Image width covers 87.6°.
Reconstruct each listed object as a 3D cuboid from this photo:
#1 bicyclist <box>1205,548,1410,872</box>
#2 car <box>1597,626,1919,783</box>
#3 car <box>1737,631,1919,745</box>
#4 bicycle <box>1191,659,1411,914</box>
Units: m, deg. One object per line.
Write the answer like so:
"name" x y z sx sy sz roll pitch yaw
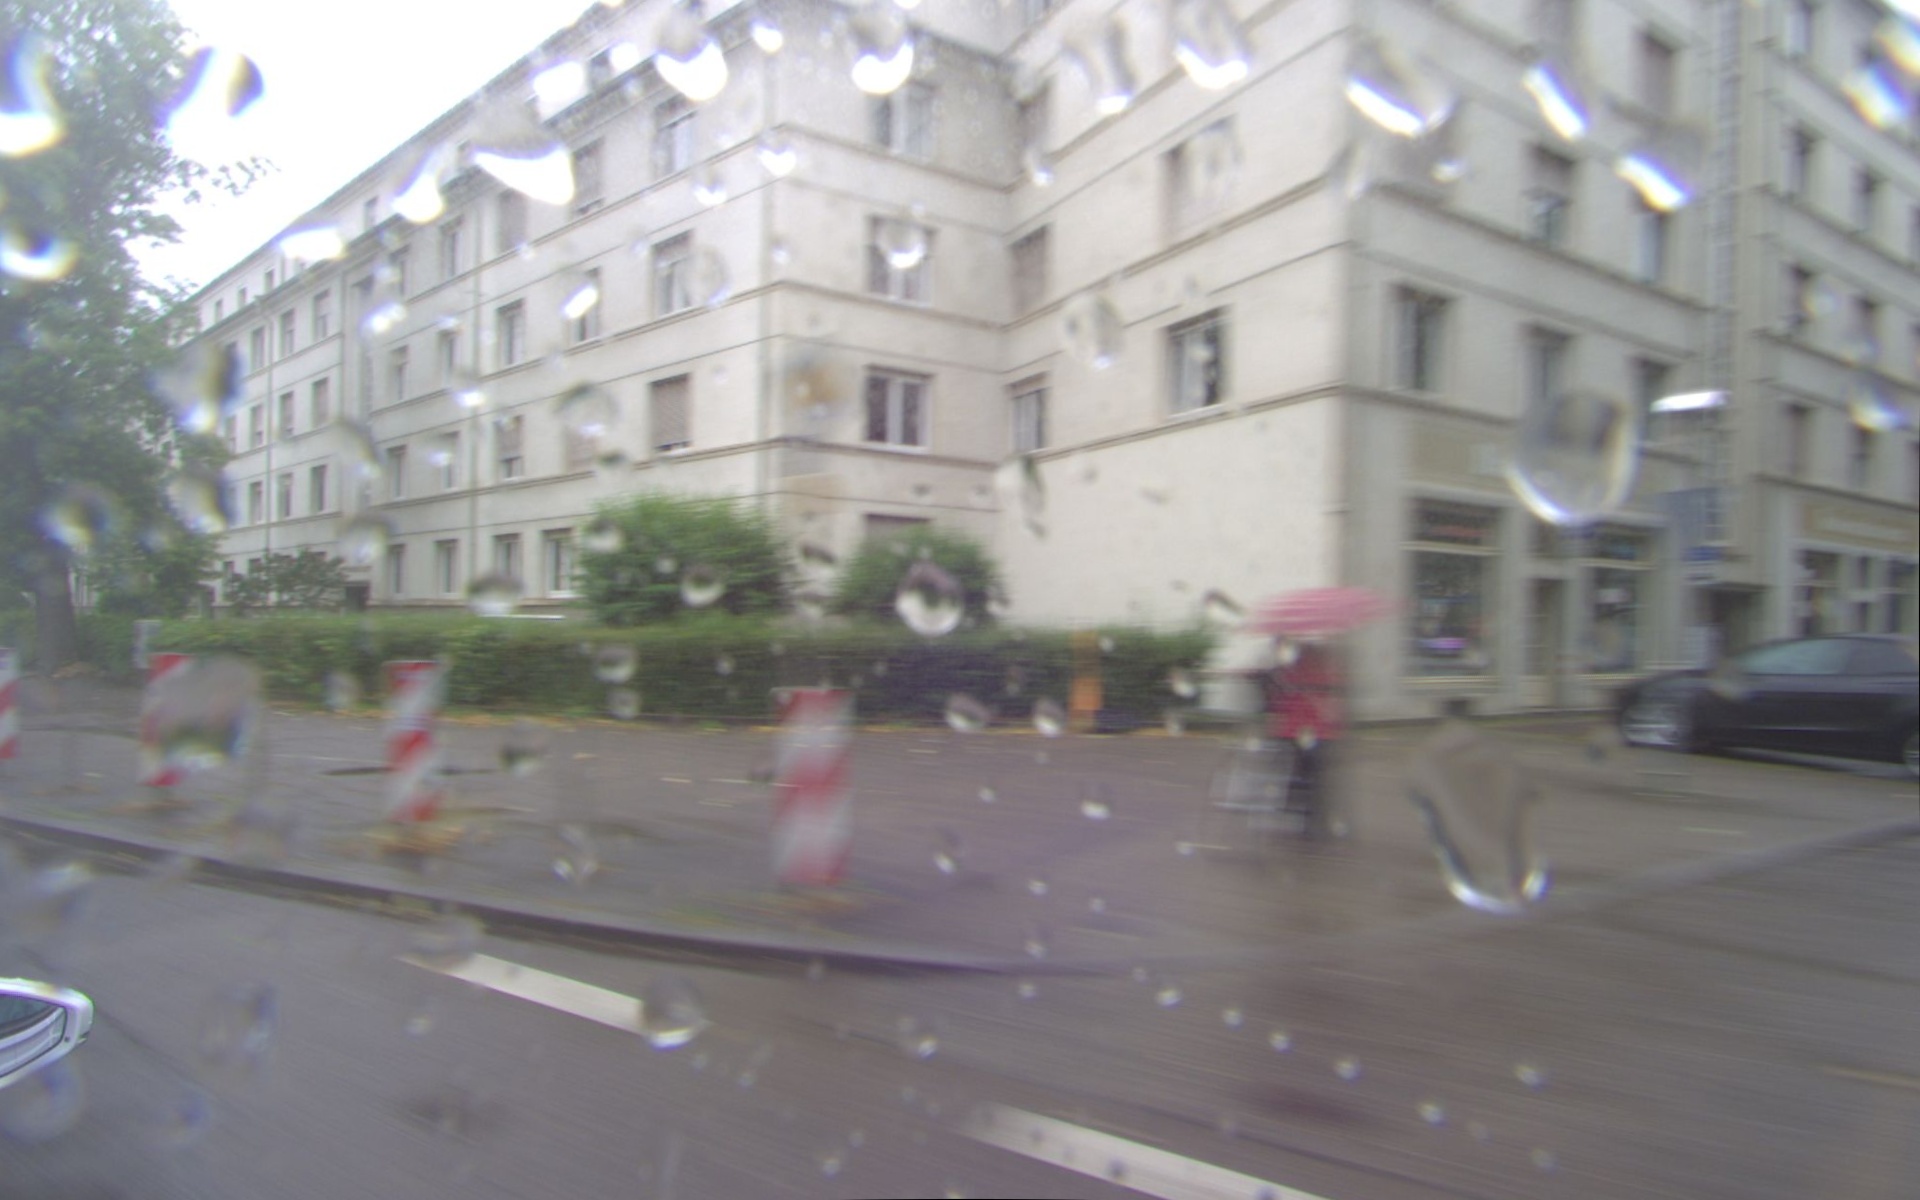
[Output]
"bicyclist" 2.214 0.648 6.480 1.122 1.892 0.940 1 0 18
"car" 10.659 1.220 12.092 1.974 1.648 4.605 5 -3 -31
"car" 15.034 1.389 15.284 1.974 1.648 4.605 5 -3 -31
"bicycle" 2.215 1.028 6.678 1.035 1.126 3.212 2 -1 18
